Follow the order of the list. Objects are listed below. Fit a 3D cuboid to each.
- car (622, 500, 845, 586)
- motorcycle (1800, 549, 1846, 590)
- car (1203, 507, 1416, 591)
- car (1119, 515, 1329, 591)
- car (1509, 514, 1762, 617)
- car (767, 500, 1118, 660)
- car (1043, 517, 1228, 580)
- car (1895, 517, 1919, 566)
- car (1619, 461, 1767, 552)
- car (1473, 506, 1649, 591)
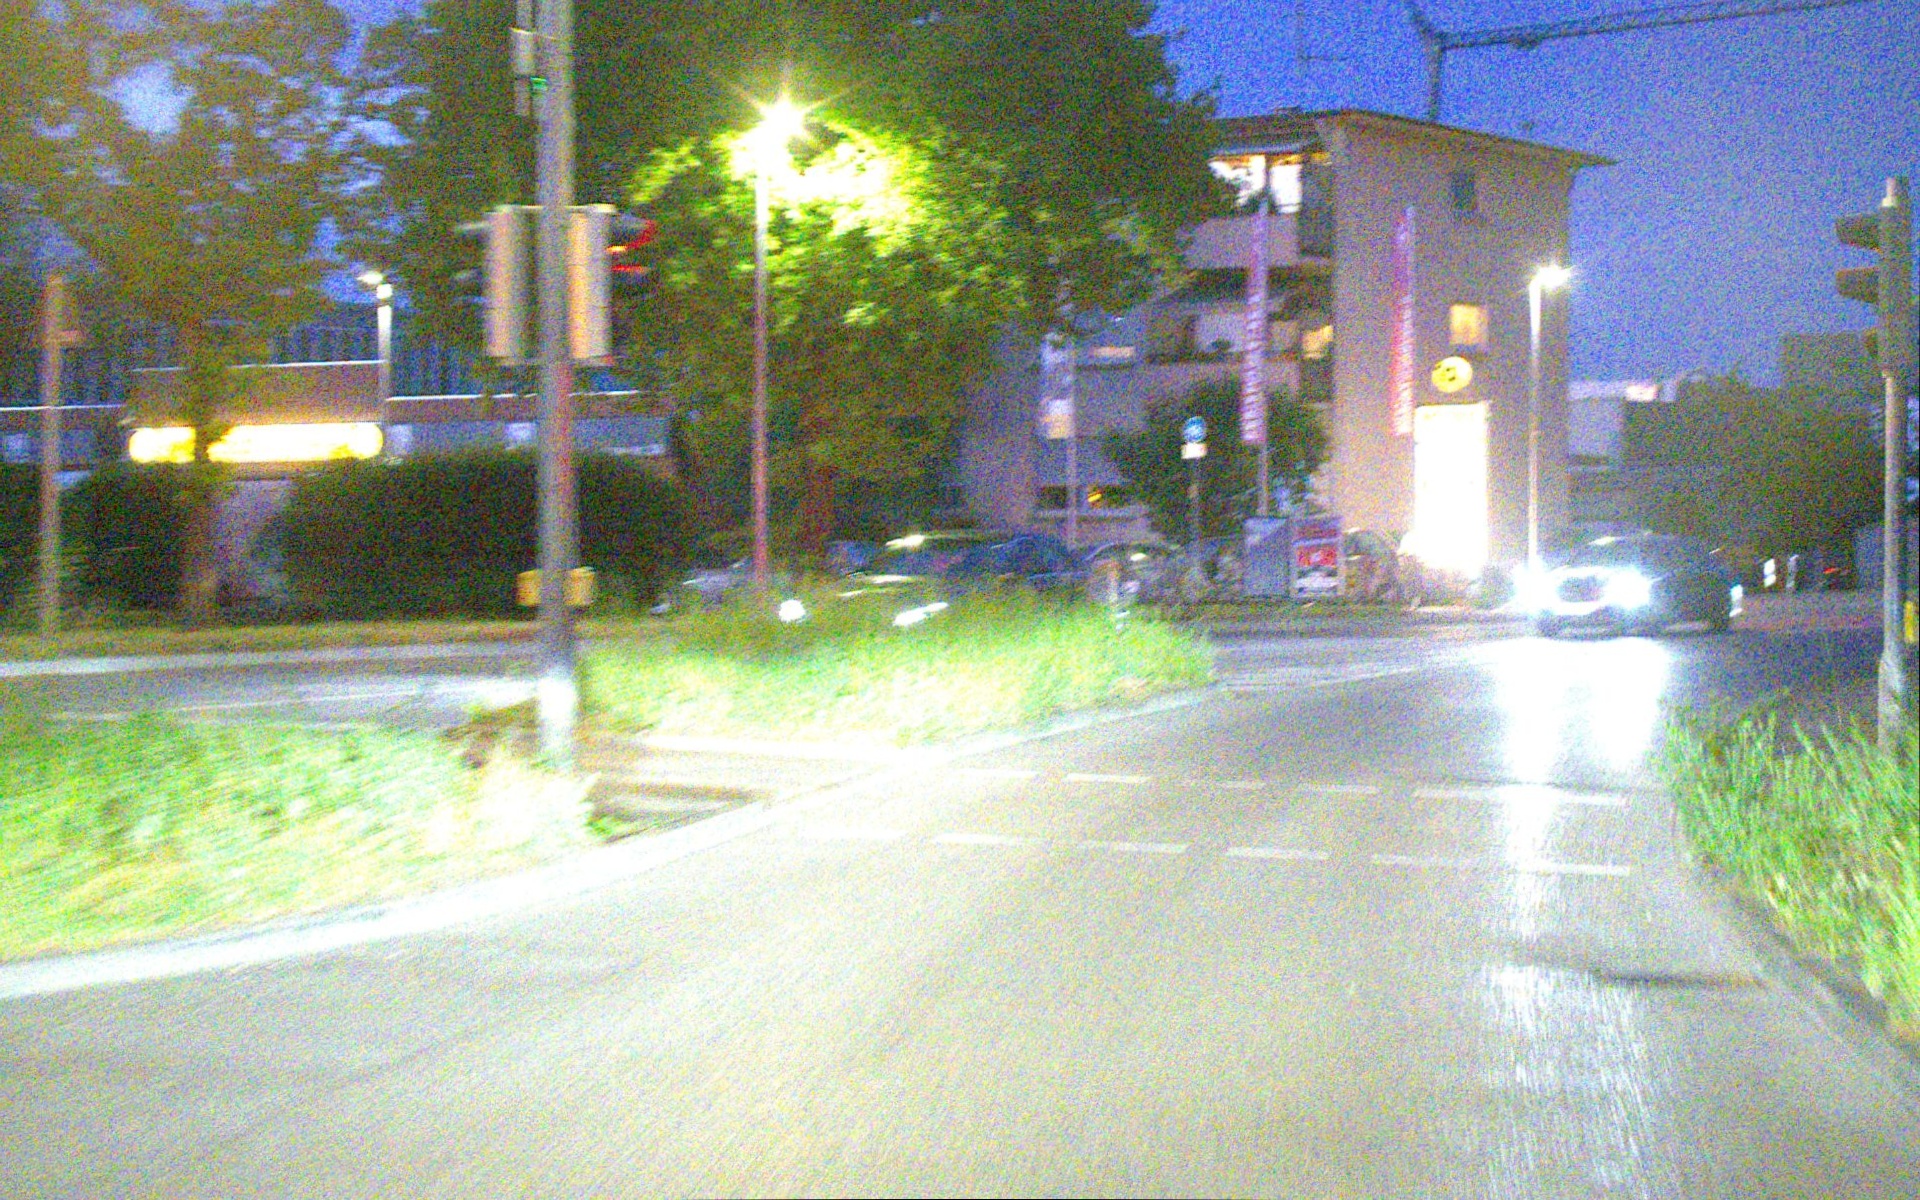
[{"bbox_3d":[-3.861,-0.951,58.519,3.508,1.355,1.494,-1,0,27],"label":"car"},{"bbox_3d":[24.824,-0.889,98.875,0.986,1.140,1.847,1,2,24],"label":"motorcycle"},{"bbox_3d":[6.159,-0.912,60.427,3.688,1.415,1.549,-1,2,-39],"label":"car"},{"bbox_3d":[4.779,-0.862,61.977,3.688,1.307,1.549,-1,2,-38],"label":"car"},{"bbox_3d":[9.765,-0.524,49.476,1.763,1.398,4.577,2,2,37],"label":"car"},{"bbox_3d":[-0.085,-0.217,33.797,1.761,1.440,4.522,2,1,23],"label":"car"},{"bbox_3d":[3.274,-0.963,63.835,3.204,1.127,1.549,-1,2,-39],"label":"car"},{"bbox_3d":[28.670,-1.648,96.556,4.356,1.355,1.640,0,1,31],"label":"car"},{"bbox_3d":[17.480,-2.246,81.863,1.998,2.006,3.992,4,5,34],"label":"car"},{"bbox_3d":[11.928,-1.024,68.043,1.759,1.602,4.443,2,2,34],"label":"car"}]
